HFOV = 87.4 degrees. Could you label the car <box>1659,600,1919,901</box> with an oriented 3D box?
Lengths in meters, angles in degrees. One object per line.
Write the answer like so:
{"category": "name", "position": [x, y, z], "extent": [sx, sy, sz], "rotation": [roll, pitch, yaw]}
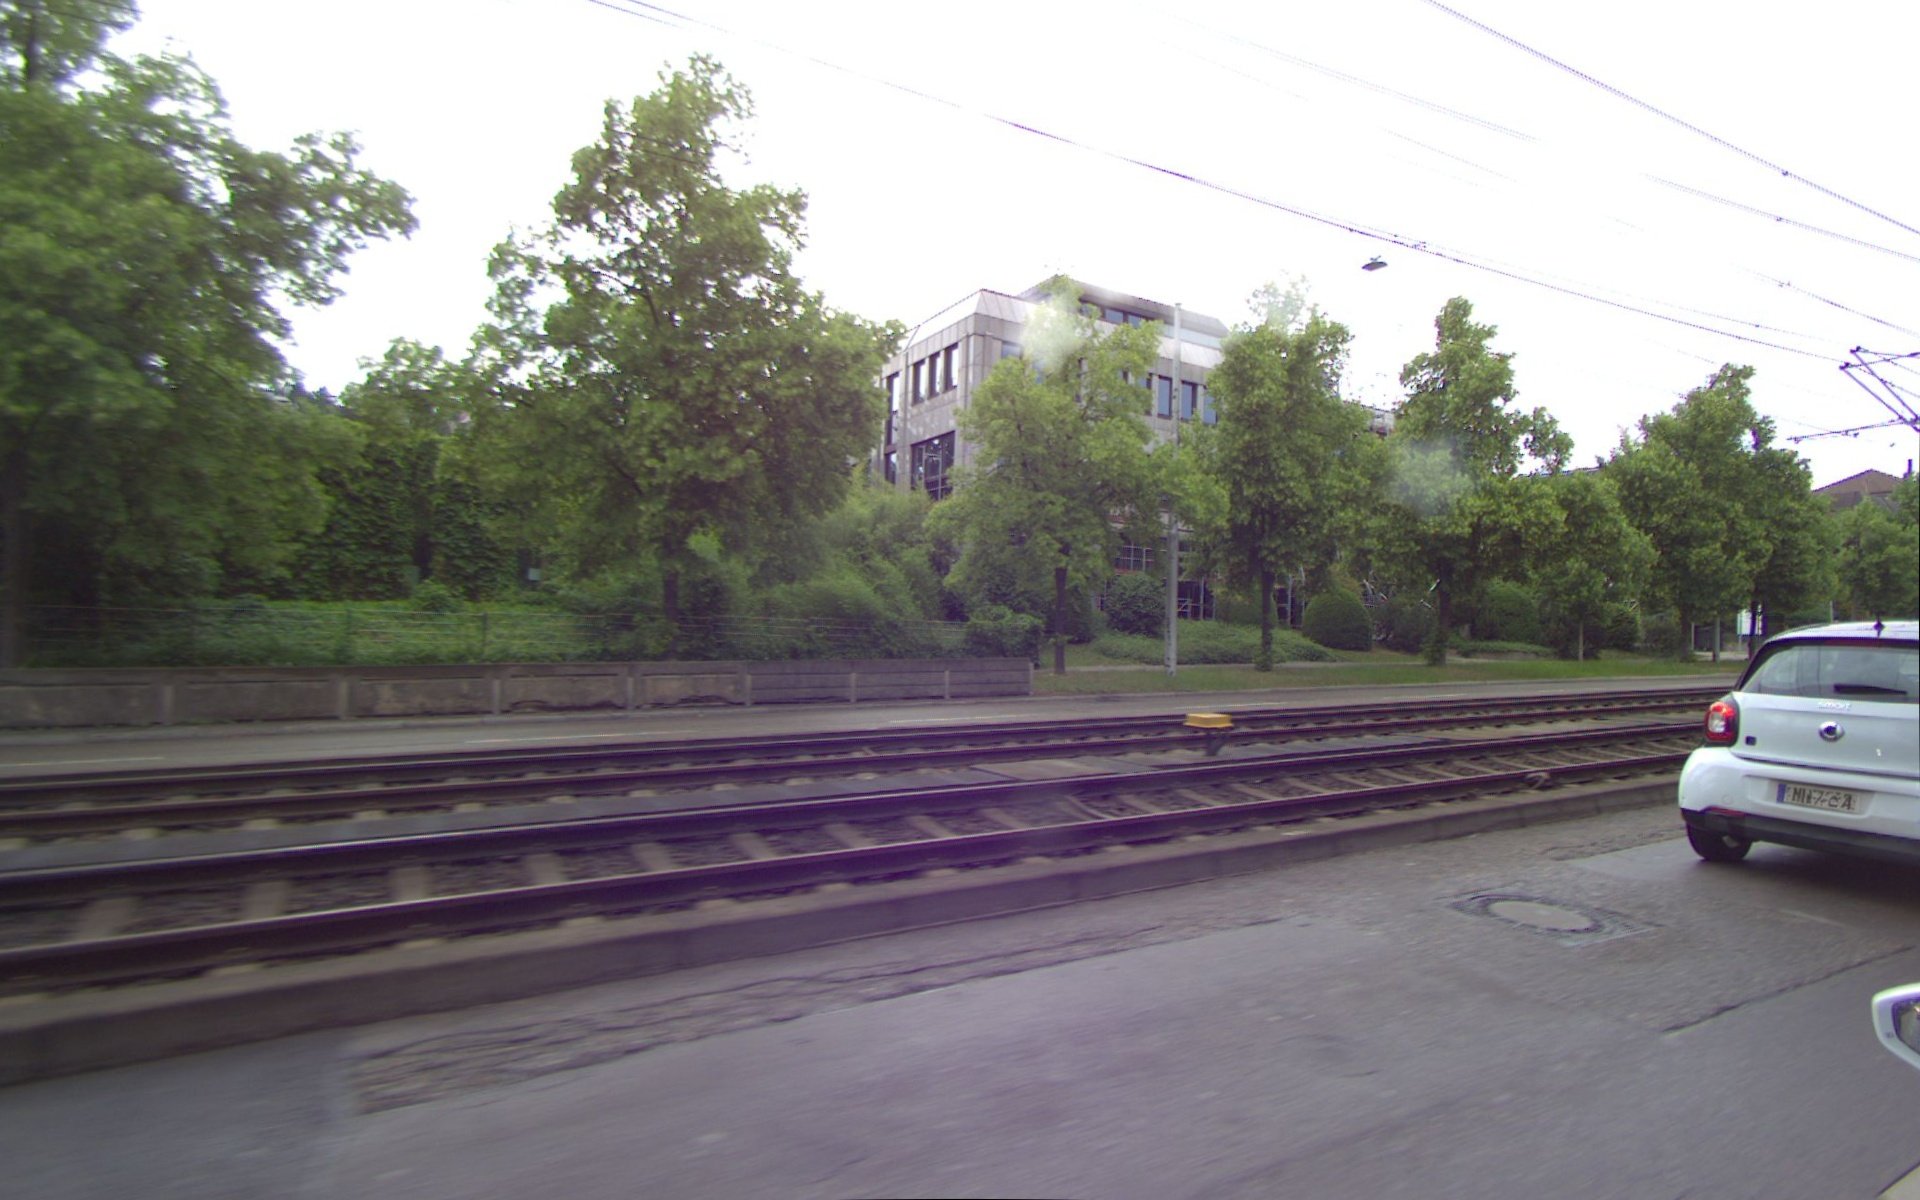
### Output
{"category": "car", "position": [6.346, 0.811, 6.473], "extent": [3.678, 1.551, 1.668], "rotation": [1, -1, -31]}
